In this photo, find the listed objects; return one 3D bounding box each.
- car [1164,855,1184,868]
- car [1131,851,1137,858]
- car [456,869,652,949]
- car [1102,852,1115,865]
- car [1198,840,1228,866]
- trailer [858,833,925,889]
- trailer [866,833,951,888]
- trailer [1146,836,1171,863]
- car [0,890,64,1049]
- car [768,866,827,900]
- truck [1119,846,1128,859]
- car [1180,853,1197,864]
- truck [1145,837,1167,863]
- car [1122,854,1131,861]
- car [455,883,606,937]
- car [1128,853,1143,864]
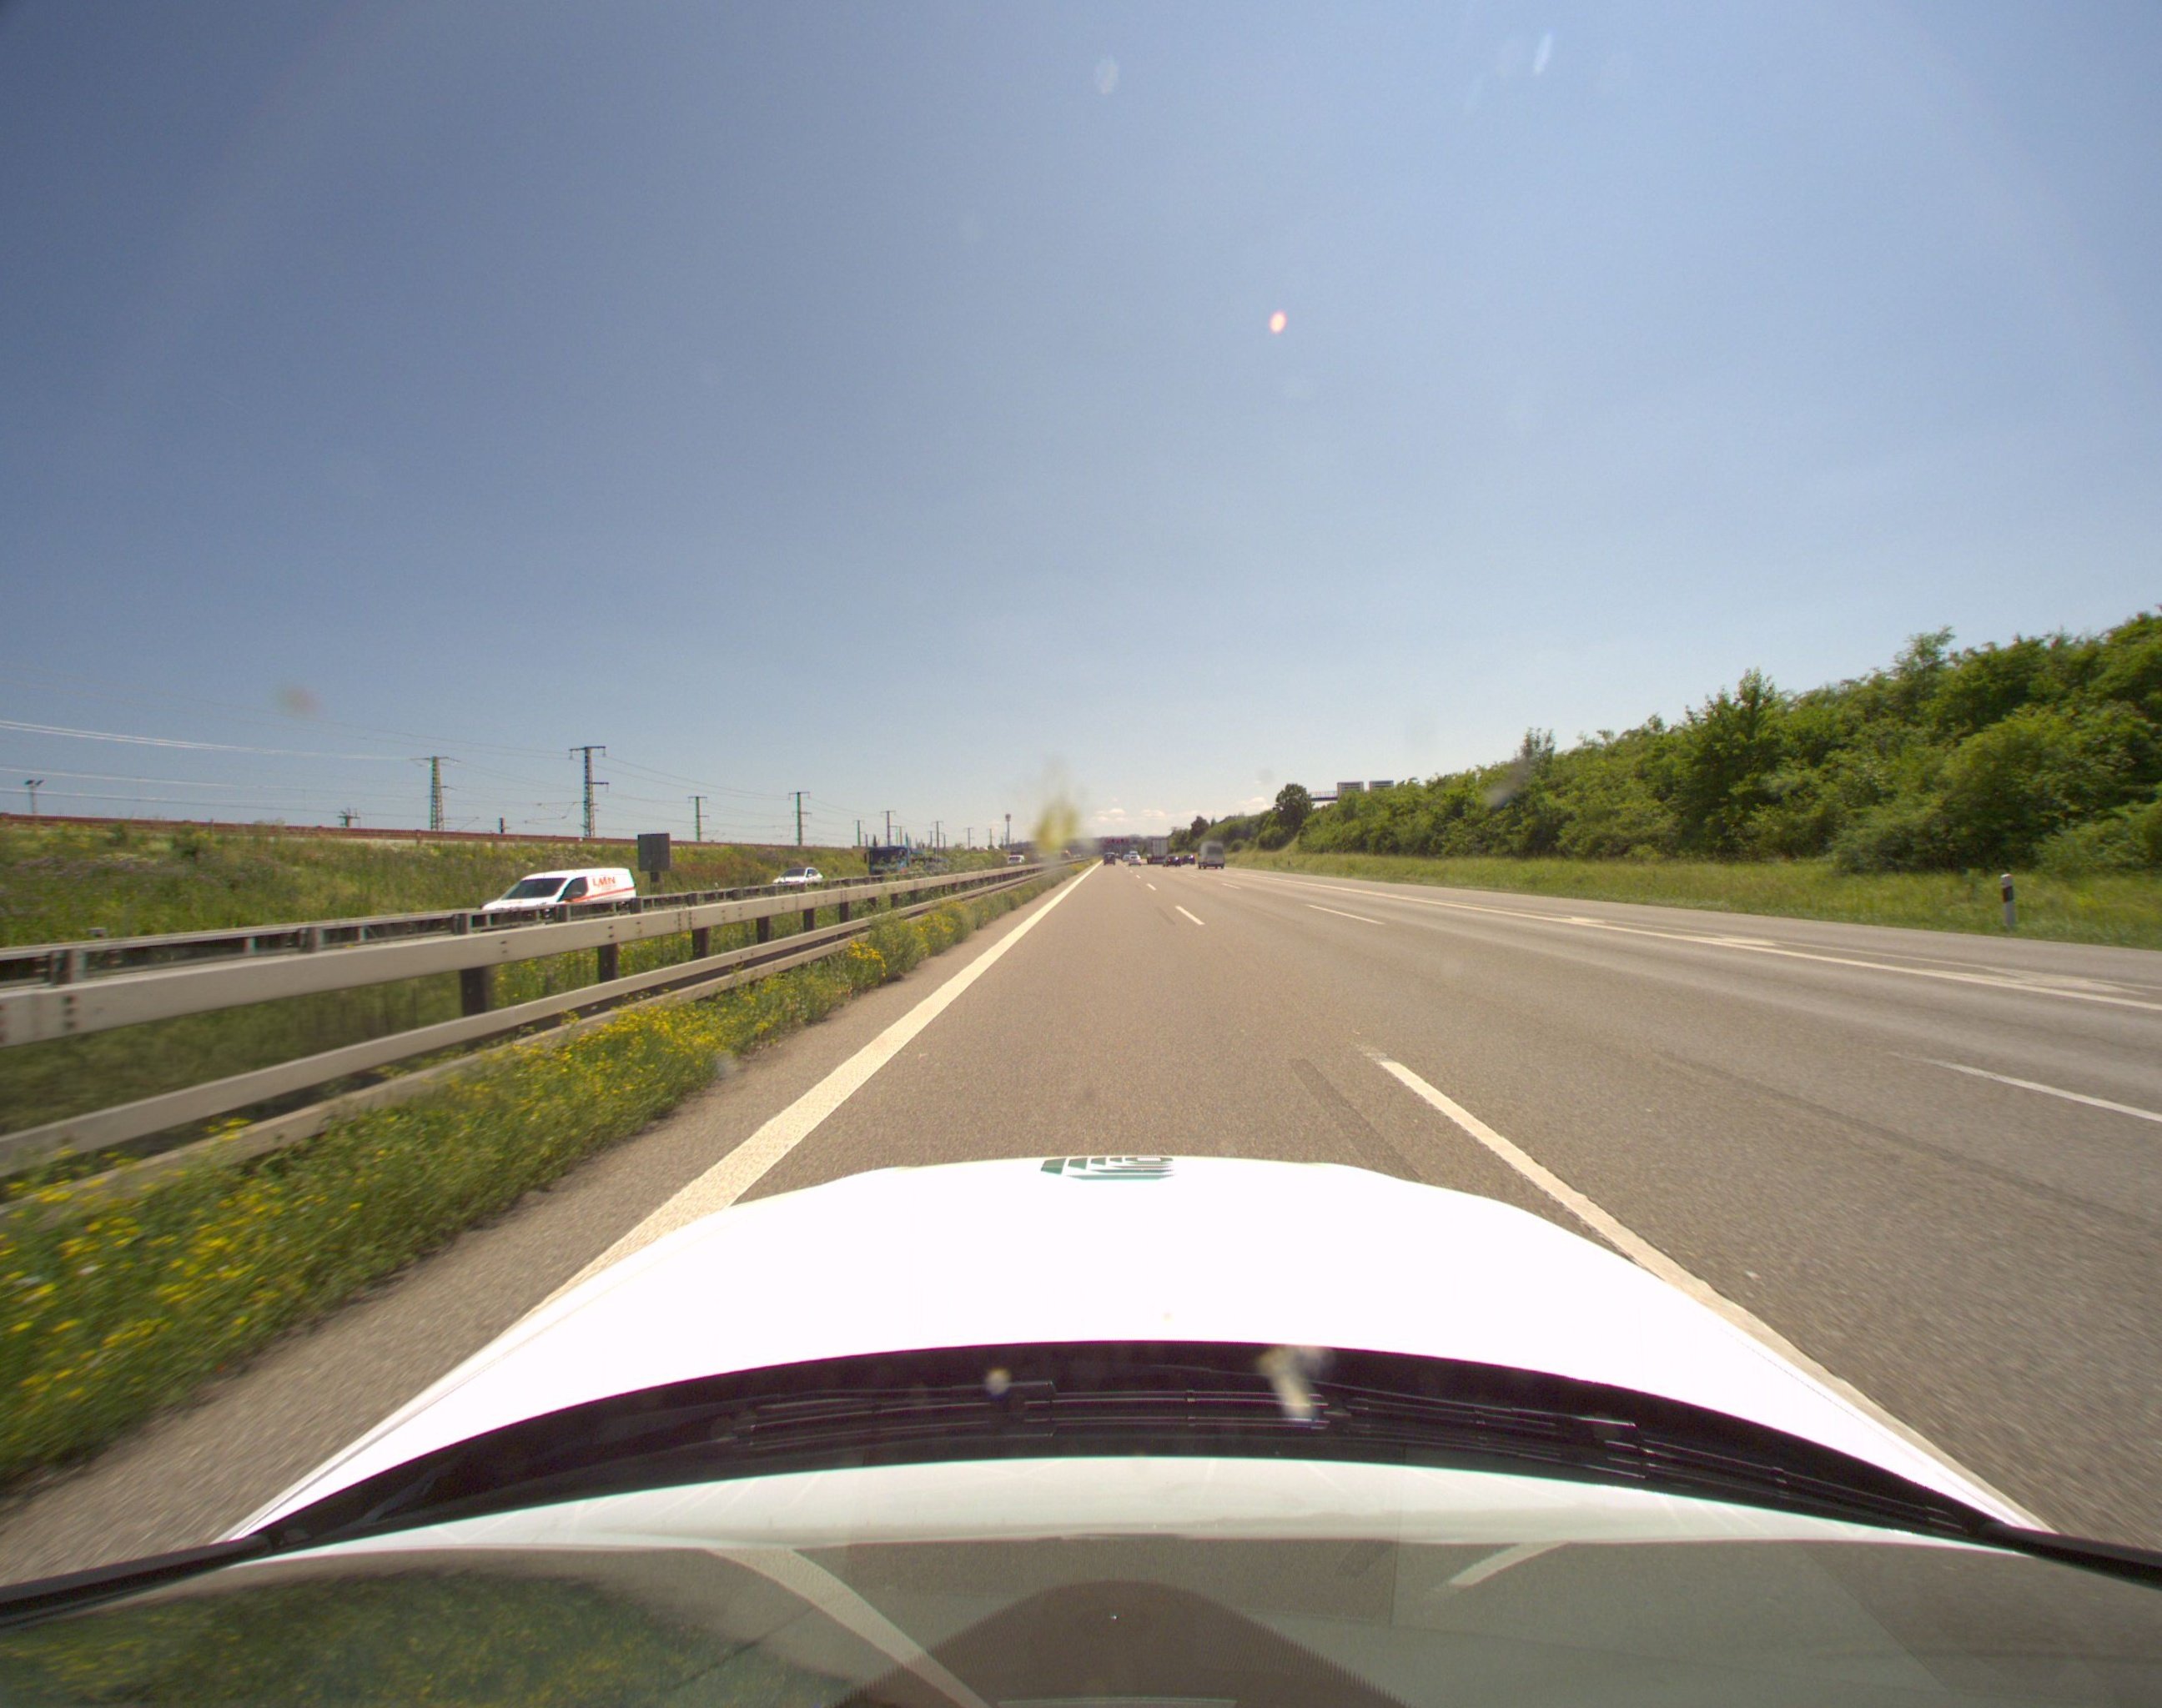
[{"bbox_3d":[11.535,0.919,101.409,1.987,1.508,3.998,0,-1,0],"label":"car"},{"bbox_3d":[16.751,0.100,258.216,1.985,2.013,4.441,-2,0,4],"label":"car"},{"bbox_3d":[-14.568,1.425,23.004,1.913,1.800,5.199,-3,0,2],"label":"car"},{"bbox_3d":[4.225,0.671,123.095,1.873,1.775,4.002,-2,-1,2],"label":"car"},{"bbox_3d":[13.544,-0.063,83.858,2.266,2.528,5.400,-1,0,1],"label":"car"},{"bbox_3d":[-14.029,0.474,60.964,3.039,3.868,7.206,-2,0,2],"label":"trailer"},{"bbox_3d":[-13.850,0.482,67.327,3.039,3.868,15.982,-2,0,2],"label":"trailer"},{"bbox_3d":[12.219,-0.686,128.963,3.165,4.059,9.444,-2,0,2],"label":"trailer"},{"bbox_3d":[-12.112,1.243,6.172,1.913,1.610,5.397,-3,0,1],"label":"car"},{"bbox_3d":[-18.045,1.836,52.102,1.986,2.014,4.497,-3,-2,2],"label":"car"},{"bbox_3d":[11.663,-0.460,224.591,2.346,3.416,6.060,-1,0,2],"label":"truck"},{"bbox_3d":[15.500,0.684,117.737,1.986,1.596,4.001,0,-1,1],"label":"car"},{"bbox_3d":[12.519,-0.688,136.557,3.165,4.059,9.444,-2,0,2],"label":"truck"},{"bbox_3d":[9.863,0.761,177.471,1.873,1.526,4.003,-1,-1,3],"label":"car"},{"bbox_3d":[-18.744,1.849,28.041,1.913,1.417,4.586,-3,0,2],"label":"car"},{"bbox_3d":[7.574,0.661,112.676,1.872,1.526,4.005,-1,-1,5],"label":"car"}]
